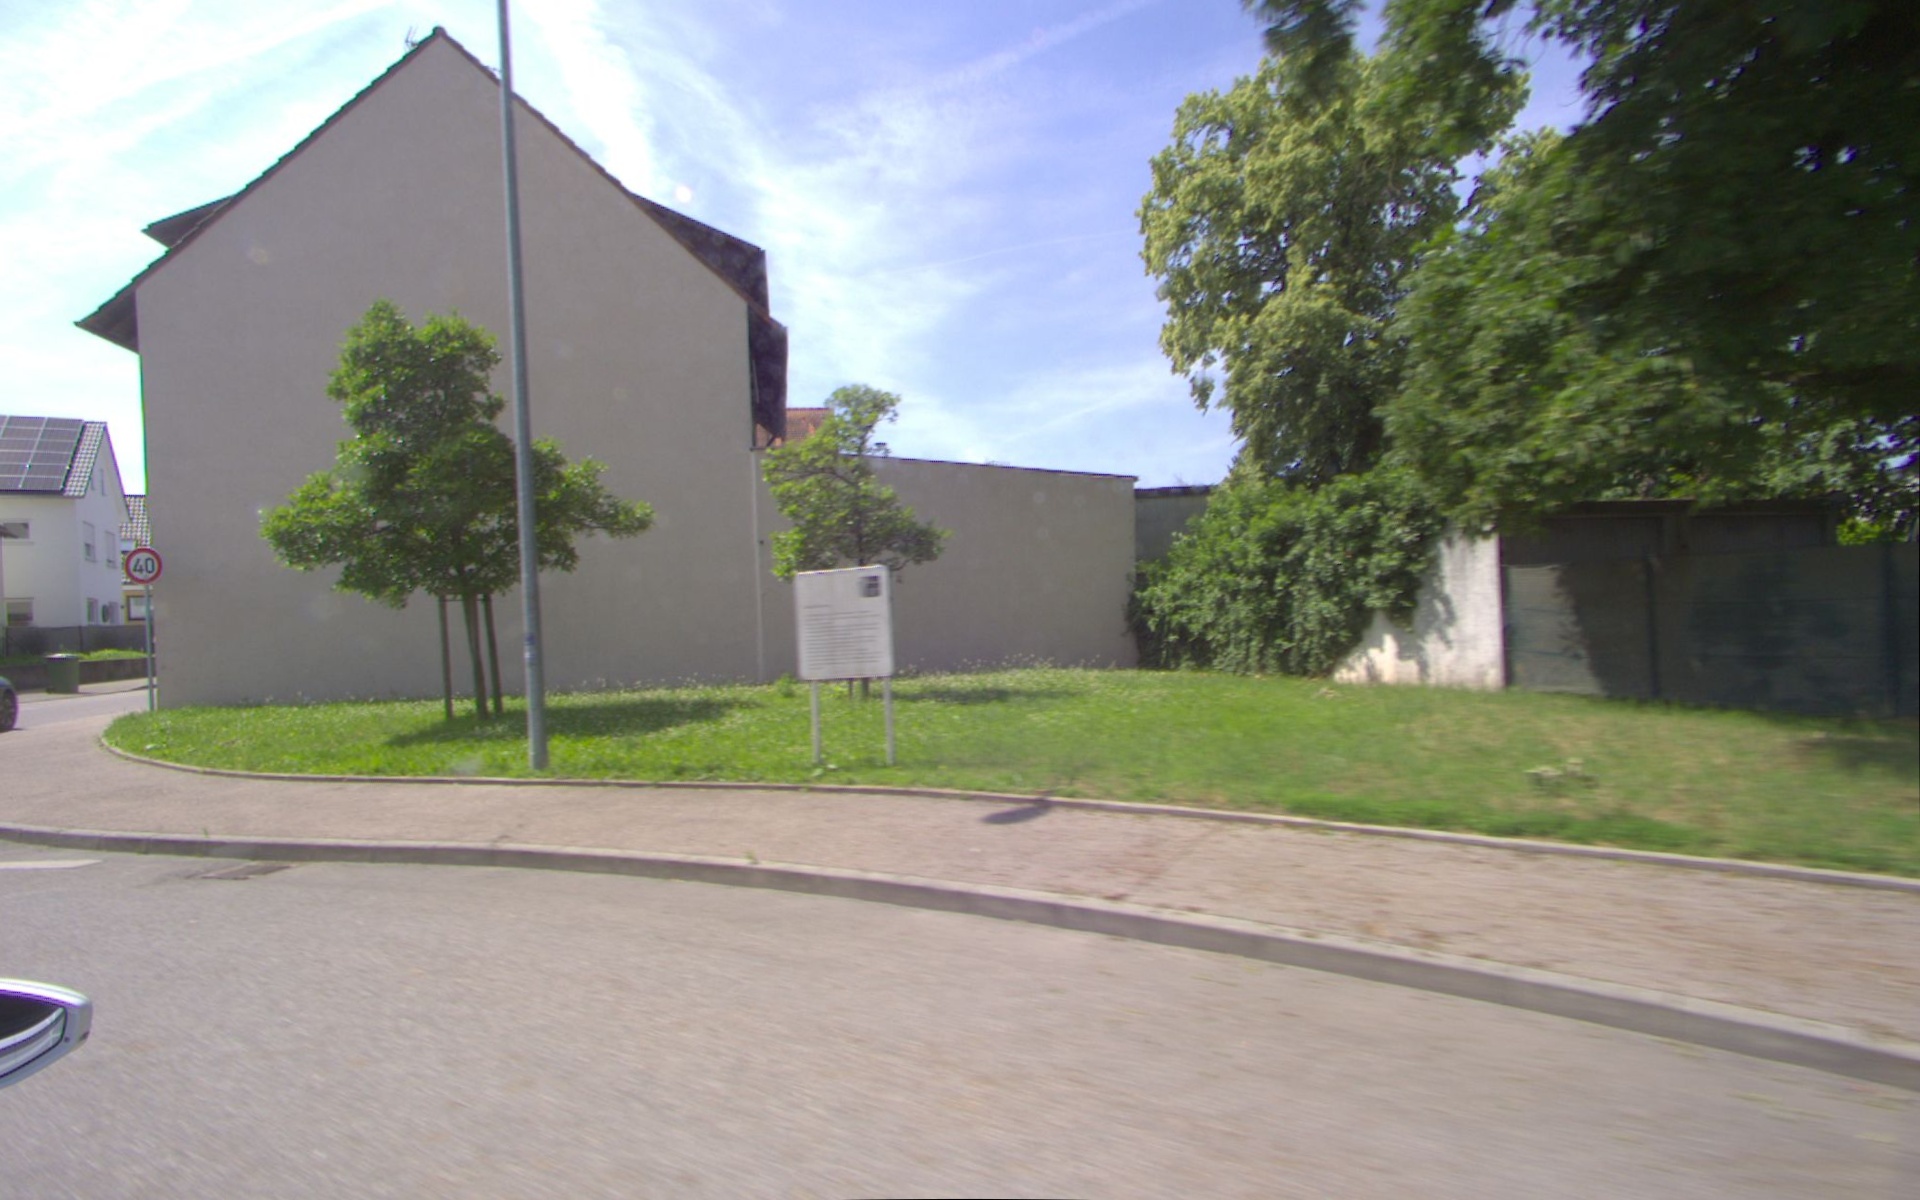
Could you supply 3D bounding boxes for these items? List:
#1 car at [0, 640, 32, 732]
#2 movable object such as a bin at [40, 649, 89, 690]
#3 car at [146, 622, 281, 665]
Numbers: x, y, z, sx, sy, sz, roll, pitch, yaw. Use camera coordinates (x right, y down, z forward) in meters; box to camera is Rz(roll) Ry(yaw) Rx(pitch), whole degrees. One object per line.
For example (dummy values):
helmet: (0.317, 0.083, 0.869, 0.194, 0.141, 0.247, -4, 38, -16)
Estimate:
car: (-15.788, 1.389, 14.849, 1.820, 1.439, 4.660, -1, 0, -28)
movable object such as a bin: (-25.018, 1.943, 27.993, 0.779, 1.071, 0.650, -2, 1, -16)
car: (-32.487, 1.859, 43.722, 4.345, 1.643, 1.993, -2, -1, -25)
